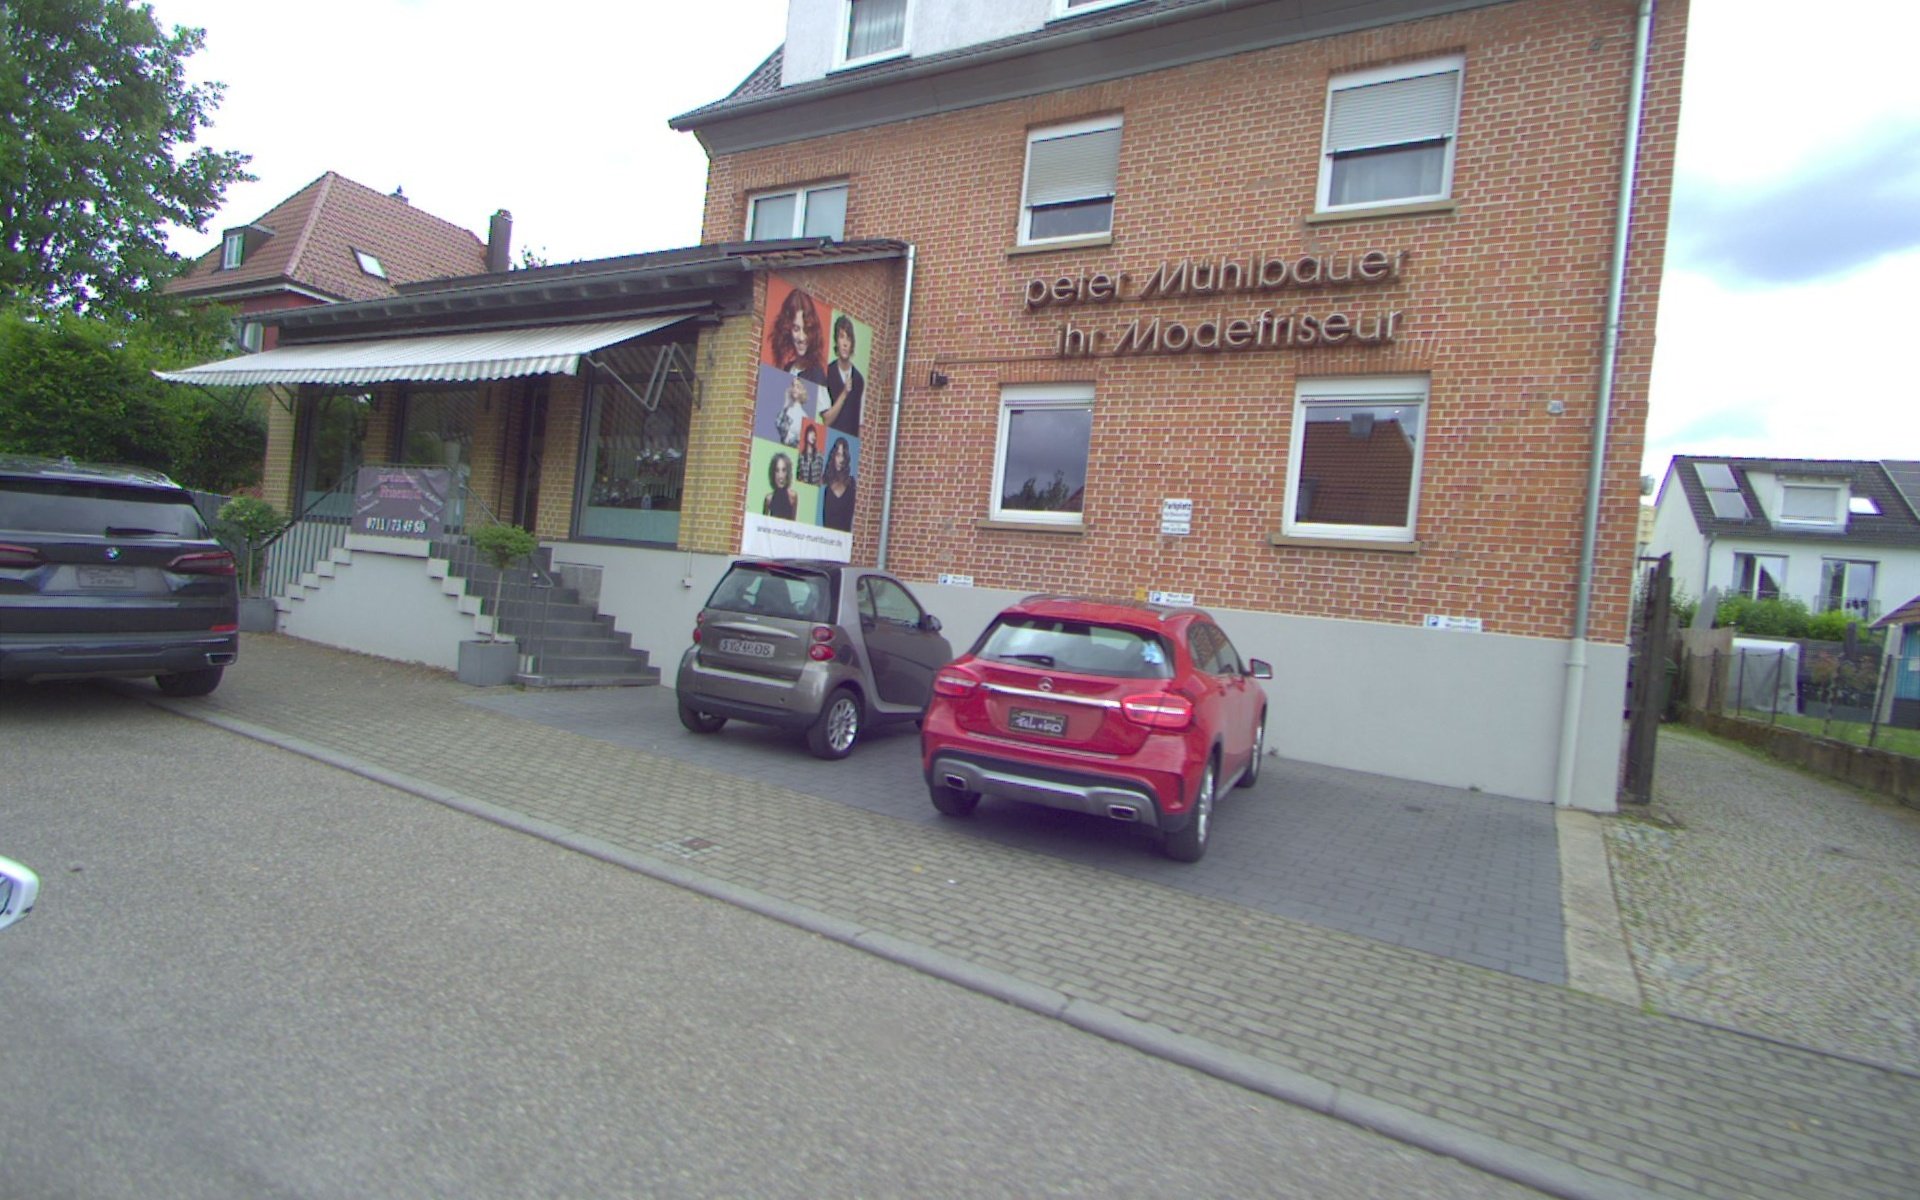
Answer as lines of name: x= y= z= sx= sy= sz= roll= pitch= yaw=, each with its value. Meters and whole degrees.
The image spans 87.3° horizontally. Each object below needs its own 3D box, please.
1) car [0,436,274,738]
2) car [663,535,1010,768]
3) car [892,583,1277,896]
car: x=-7.673 y=-0.287 z=7.905 sx=4.833 sy=1.861 sz=1.899 roll=7 pitch=1 yaw=32
car: x=-0.969 y=0.391 z=9.476 sx=1.552 sy=1.656 sz=3.355 roll=7 pitch=3 yaw=26
car: x=1.103 y=0.738 z=7.131 sx=1.717 sy=1.479 sz=3.357 roll=7 pitch=3 yaw=23
